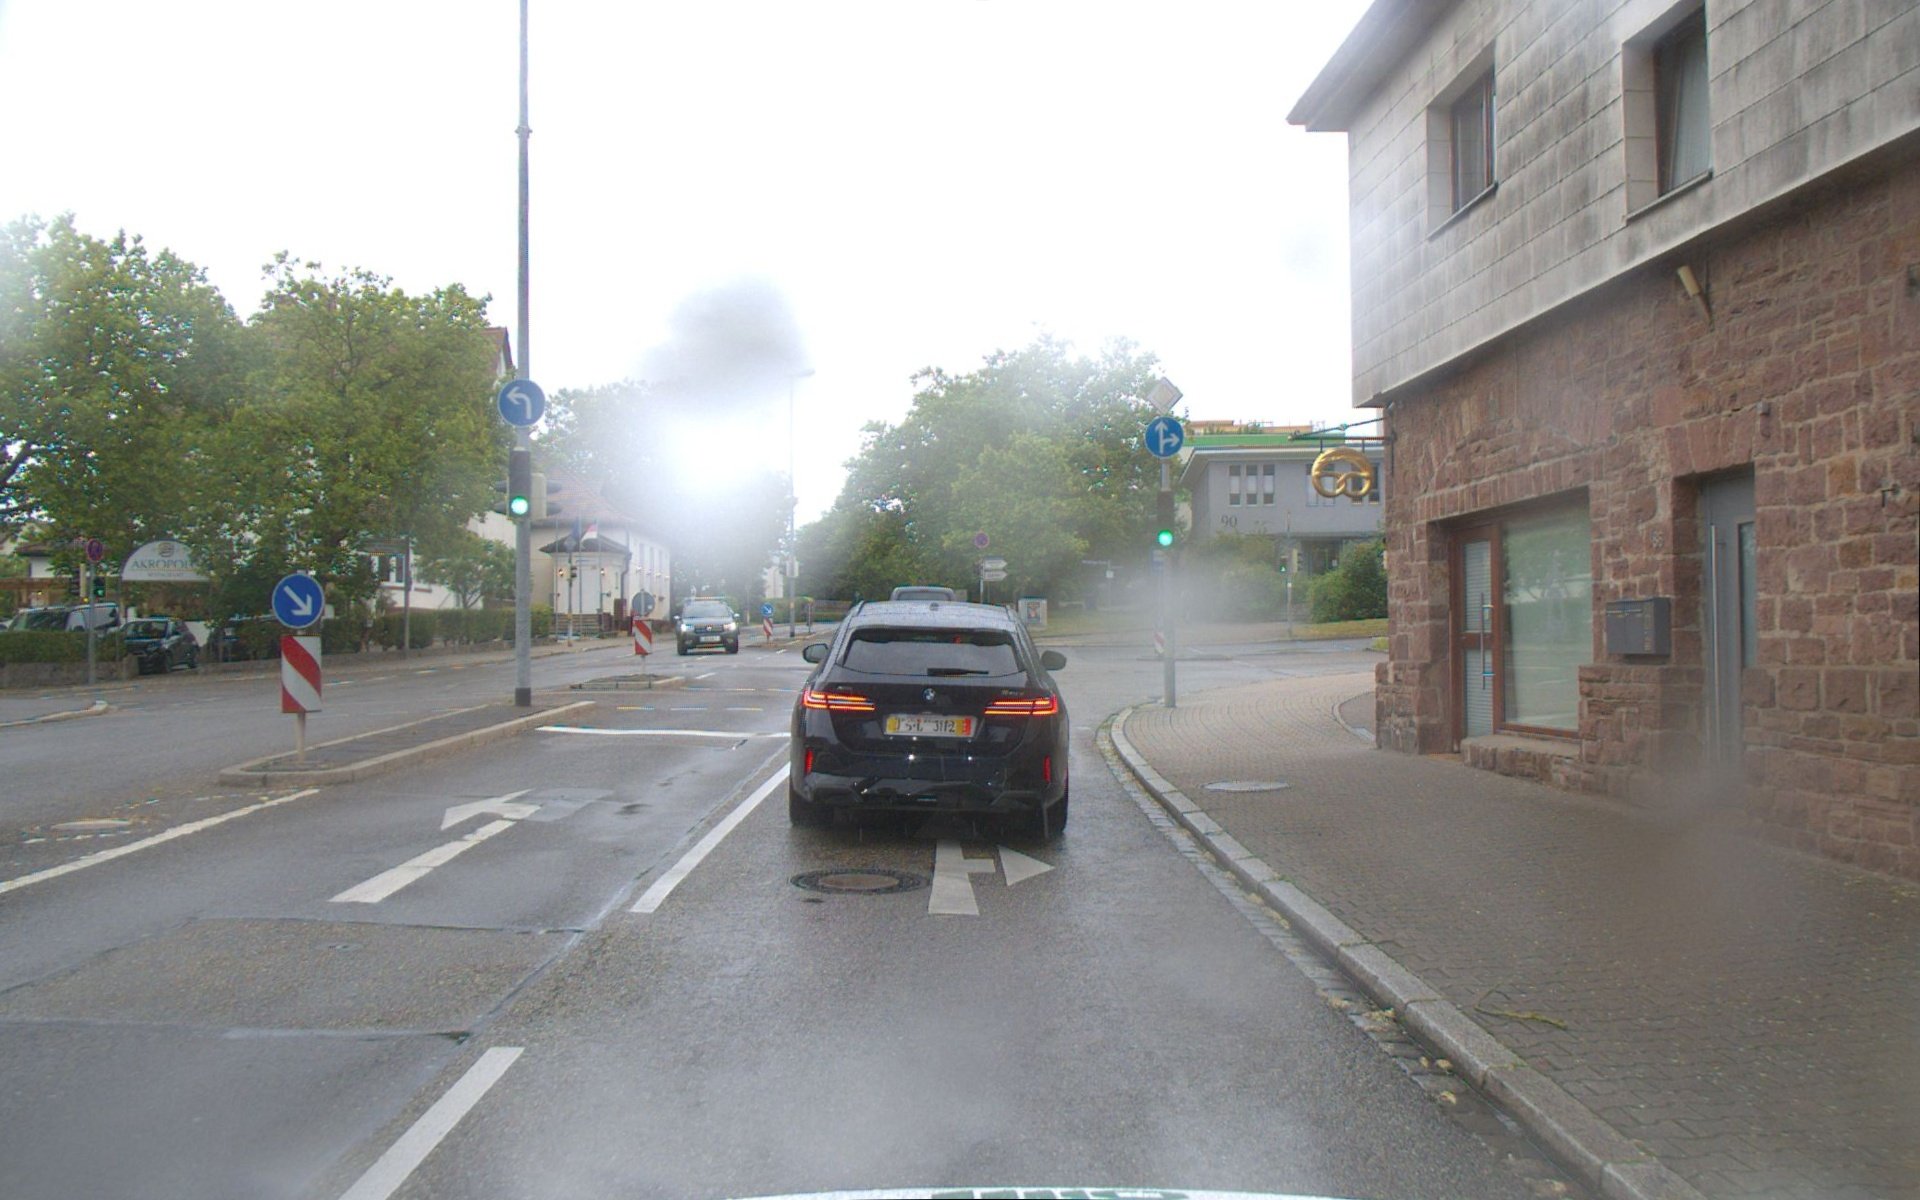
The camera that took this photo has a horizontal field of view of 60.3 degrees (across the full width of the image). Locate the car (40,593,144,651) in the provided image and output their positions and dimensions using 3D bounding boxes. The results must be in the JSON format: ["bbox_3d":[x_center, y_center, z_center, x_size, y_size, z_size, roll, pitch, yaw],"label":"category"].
[{"bbox_3d":[-32.205,0.822,61.480,1.954,2.049,3.996,1,-1,-5],"label":"car"}]

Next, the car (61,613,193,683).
[{"bbox_3d":[-22.943,1.285,45.704,1.772,1.578,3.999,1,3,-3],"label":"car"}]

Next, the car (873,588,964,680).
[{"bbox_3d":[-0.940,0.710,35.542,1.776,1.840,3.753,1,-1,-4],"label":"car"}]

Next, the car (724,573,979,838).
[{"bbox_3d":[-0.754,0.655,11.672,1.494,1.561,3.529,1,-1,-4],"label":"car"}]

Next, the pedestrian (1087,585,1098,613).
[{"bbox_3d":[8.673,-0.061,108.496,0.546,1.794,0.727,1,-1,-5],"label":"pedestrian"}]

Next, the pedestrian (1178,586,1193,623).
[{"bbox_3d":[10.037,0.195,73.628,0.588,1.645,0.526,1,-1,6],"label":"pedestrian"}]

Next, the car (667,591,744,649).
[{"bbox_3d":[-7.563,0.561,49.561,1.861,1.605,4.499,-1,1,-4],"label":"car"}]

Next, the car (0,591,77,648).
[{"bbox_3d":[-34.604,0.709,61.170,1.954,2.049,3.996,1,-1,-5],"label":"car"}]
